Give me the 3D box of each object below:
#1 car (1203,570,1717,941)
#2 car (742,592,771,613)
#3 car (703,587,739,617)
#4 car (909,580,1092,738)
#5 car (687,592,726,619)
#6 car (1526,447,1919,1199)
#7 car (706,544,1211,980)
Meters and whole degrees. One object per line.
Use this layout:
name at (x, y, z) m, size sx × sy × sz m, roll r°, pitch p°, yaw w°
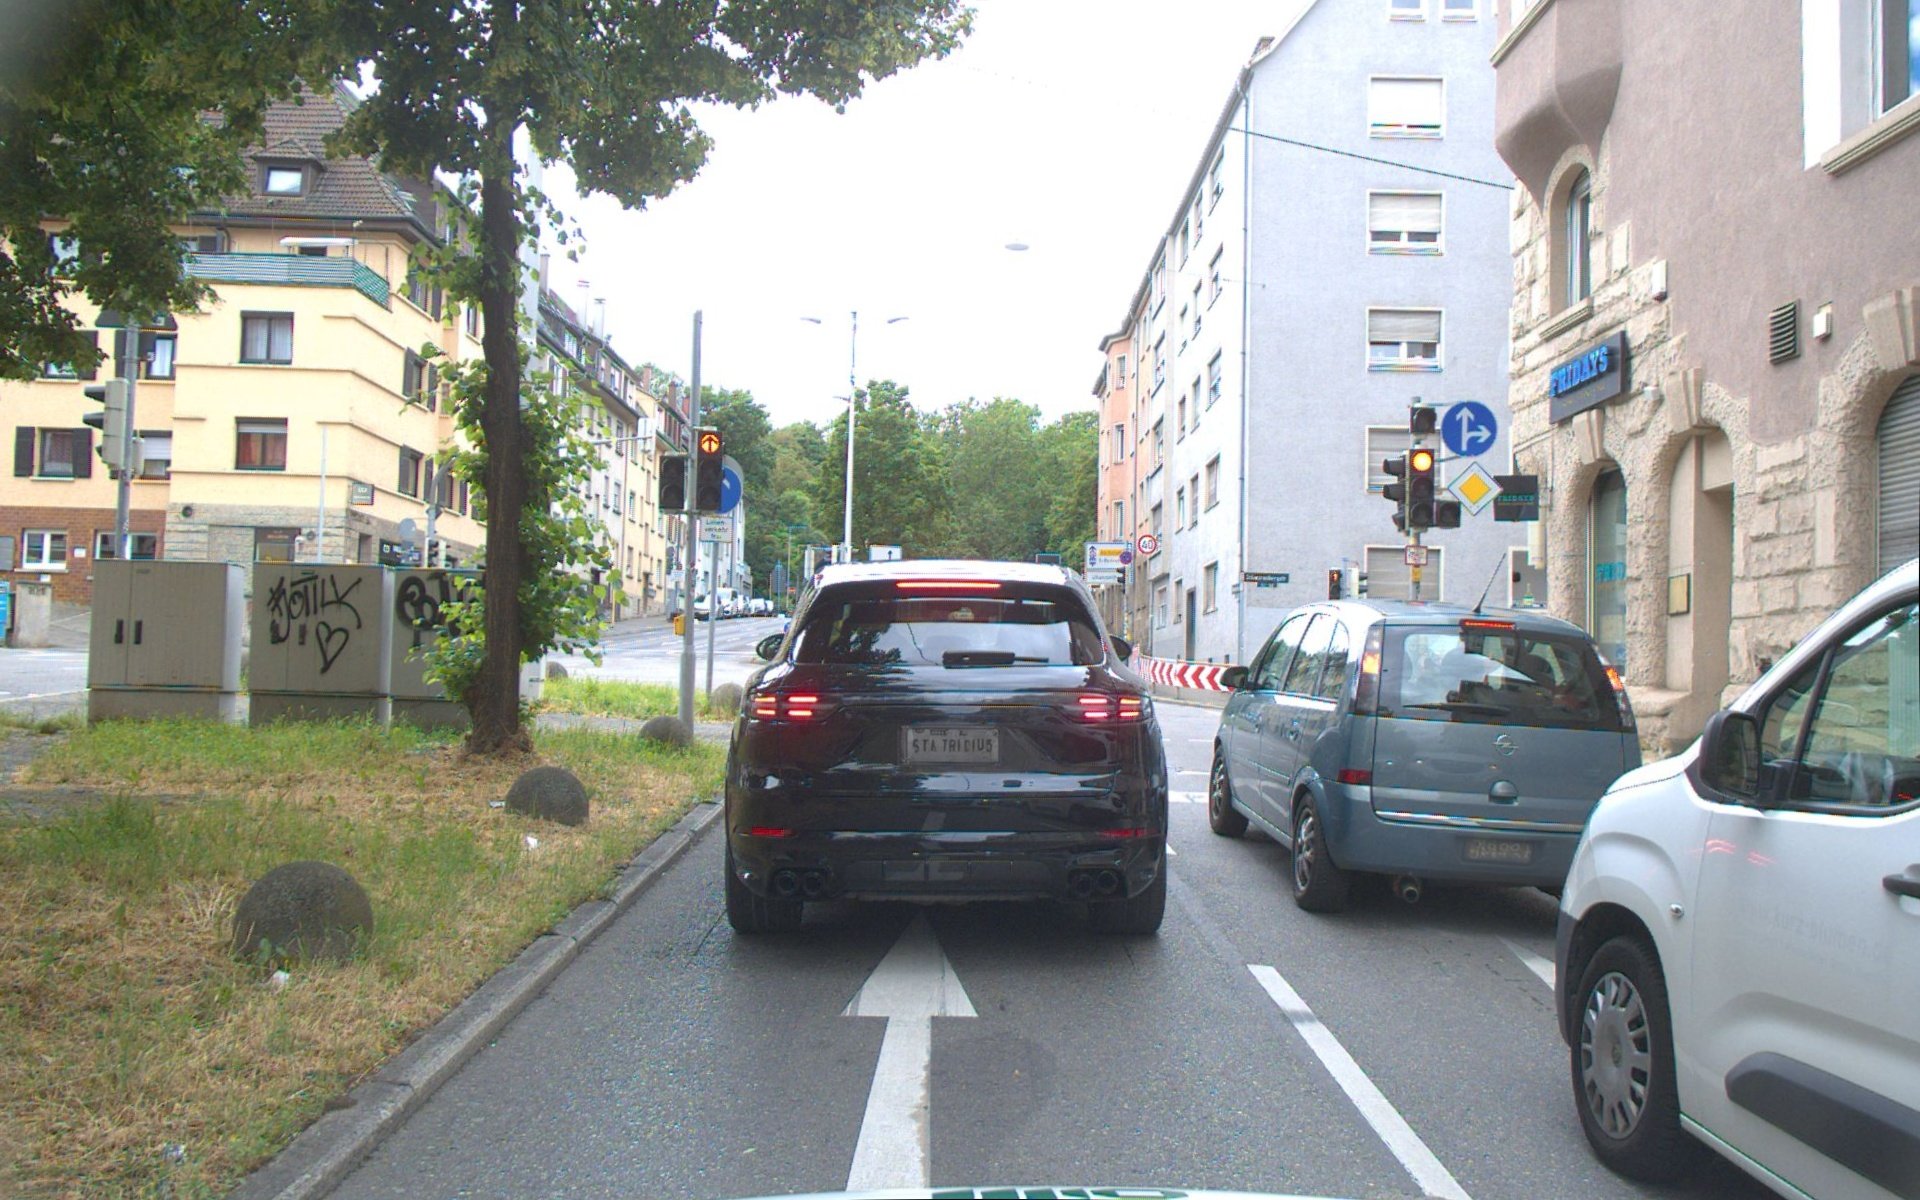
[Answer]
car at (2.625, 0.741, 9.595) m, size 1.717 × 1.621 × 3.629 m, roll 4°, pitch 0°, yaw -1°
car at (-15.518, 0.200, 126.382) m, size 1.758 × 1.536 × 3.999 m, roll 1°, pitch 0°, yaw -1°
car at (-15.126, 0.127, 105.004) m, size 1.758 × 1.841 × 3.999 m, roll 1°, pitch 0°, yaw -1°
car at (0.463, 0.651, 19.807) m, size 1.953 × 1.682 × 4.000 m, roll 1°, pitch -1°, yaw 1°
car at (-15.290, 0.311, 99.976) m, size 1.758 × 1.536 × 3.999 m, roll 1°, pitch 0°, yaw -1°
car at (2.761, 0.668, 3.278) m, size 1.811 × 1.857 × 5.022 m, roll 2°, pitch -1°, yaw 4°
car at (0.020, 0.613, 8.447) m, size 1.953 × 1.681 × 4.000 m, roll 1°, pitch 0°, yaw 1°
